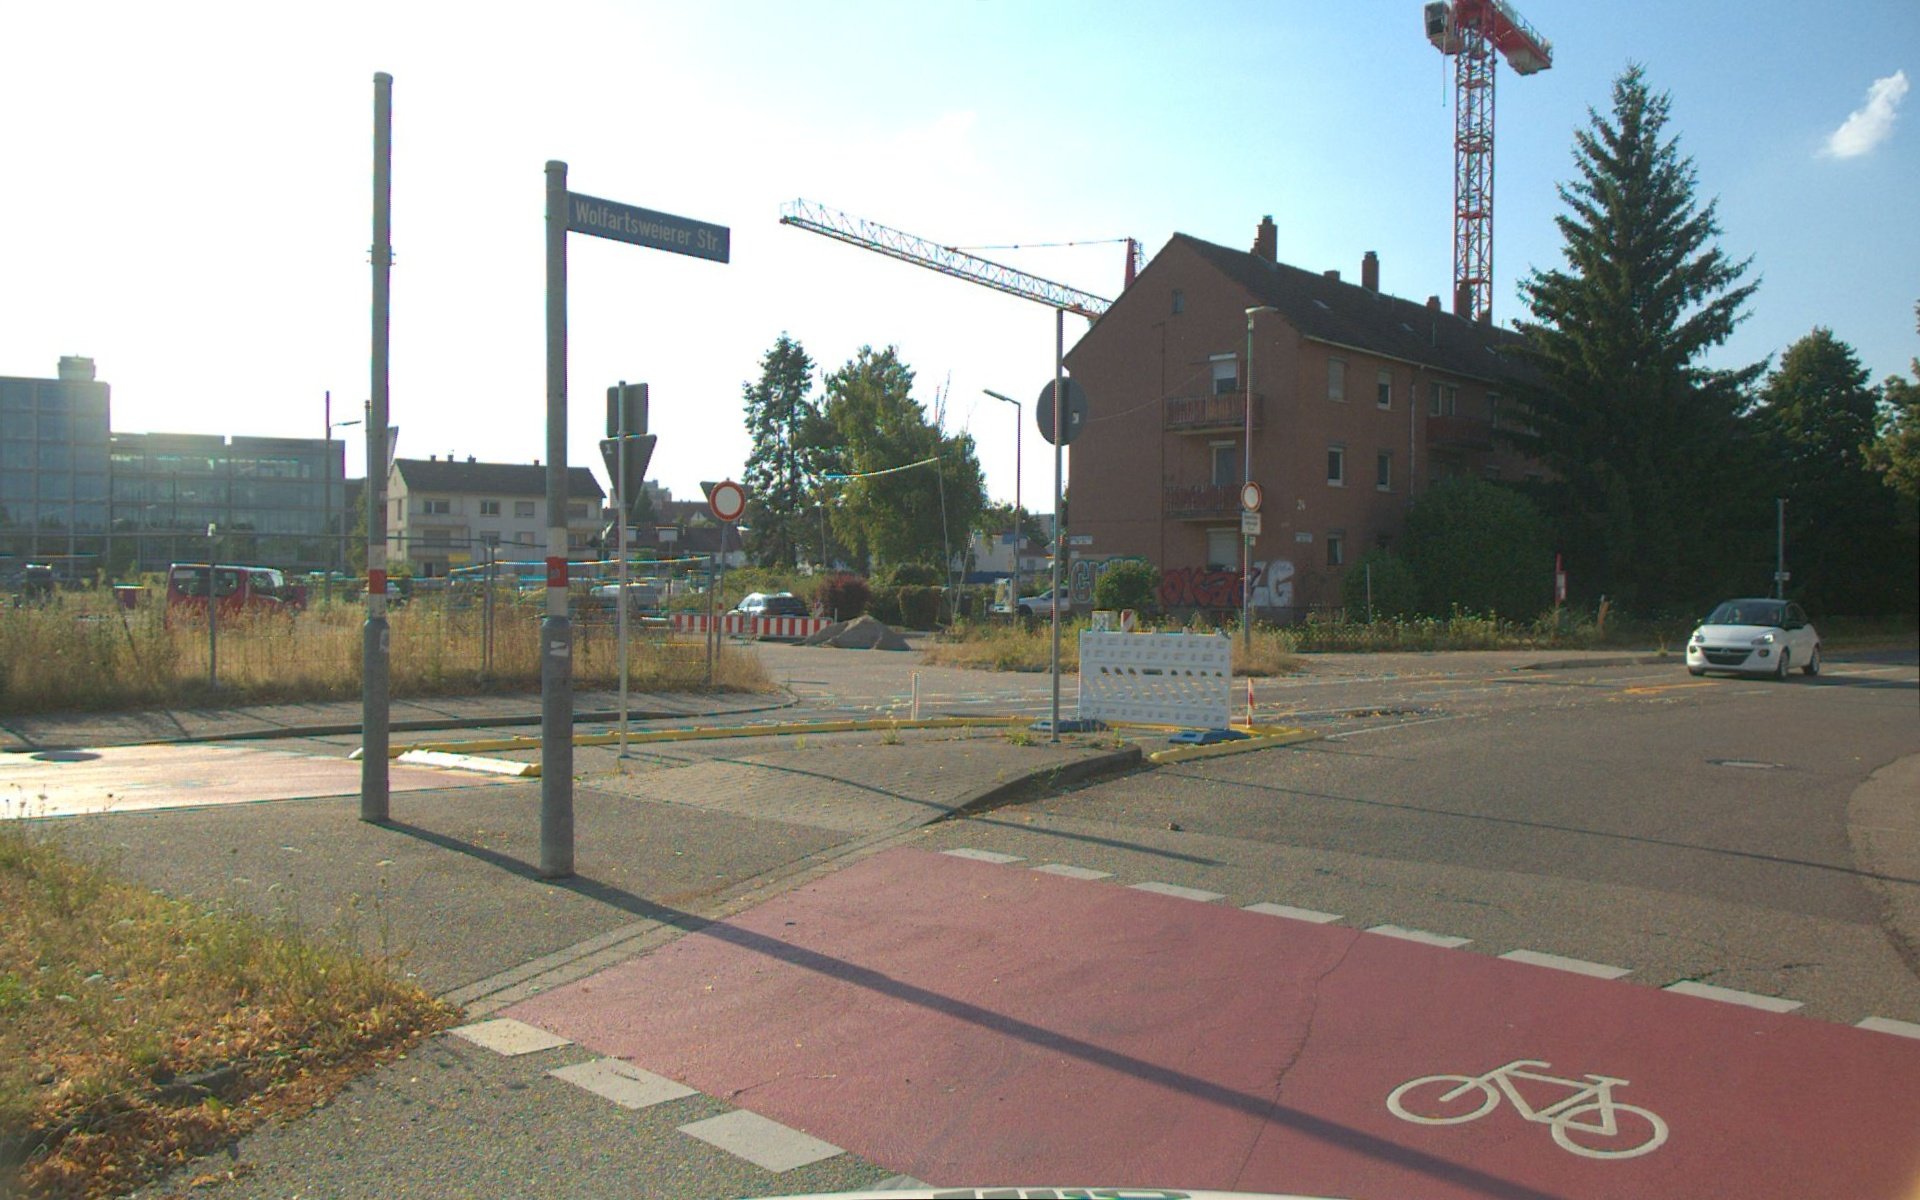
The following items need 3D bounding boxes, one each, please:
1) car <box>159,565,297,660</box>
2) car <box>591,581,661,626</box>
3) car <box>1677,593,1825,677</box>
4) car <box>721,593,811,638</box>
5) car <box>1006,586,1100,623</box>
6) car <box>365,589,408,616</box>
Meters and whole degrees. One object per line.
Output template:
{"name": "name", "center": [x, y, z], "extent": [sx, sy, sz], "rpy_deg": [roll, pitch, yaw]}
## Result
{"name": "car", "center": [-16.852, 0.258, 38.344], "extent": [1.959, 2.049, 5.295], "rpy_deg": [1, 0, -13]}
{"name": "car", "center": [-15.199, 0.161, 75.181], "extent": [1.845, 1.982, 3.956], "rpy_deg": [0, 0, -32]}
{"name": "car", "center": [15.261, 0.640, 31.820], "extent": [1.732, 1.446, 3.606], "rpy_deg": [3, 1, 39]}
{"name": "car", "center": [-7.196, 0.541, 61.067], "extent": [1.971, 1.579, 3.963], "rpy_deg": [0, 0, -28]}
{"name": "car", "center": [4.075, 0.193, 72.123], "extent": [3.902, 1.557, 2.002], "rpy_deg": [1, 0, 10]}
{"name": "car", "center": [-41.127, 0.141, 118.478], "extent": [2.124, 1.870, 4.317], "rpy_deg": [1, 0, -30]}
